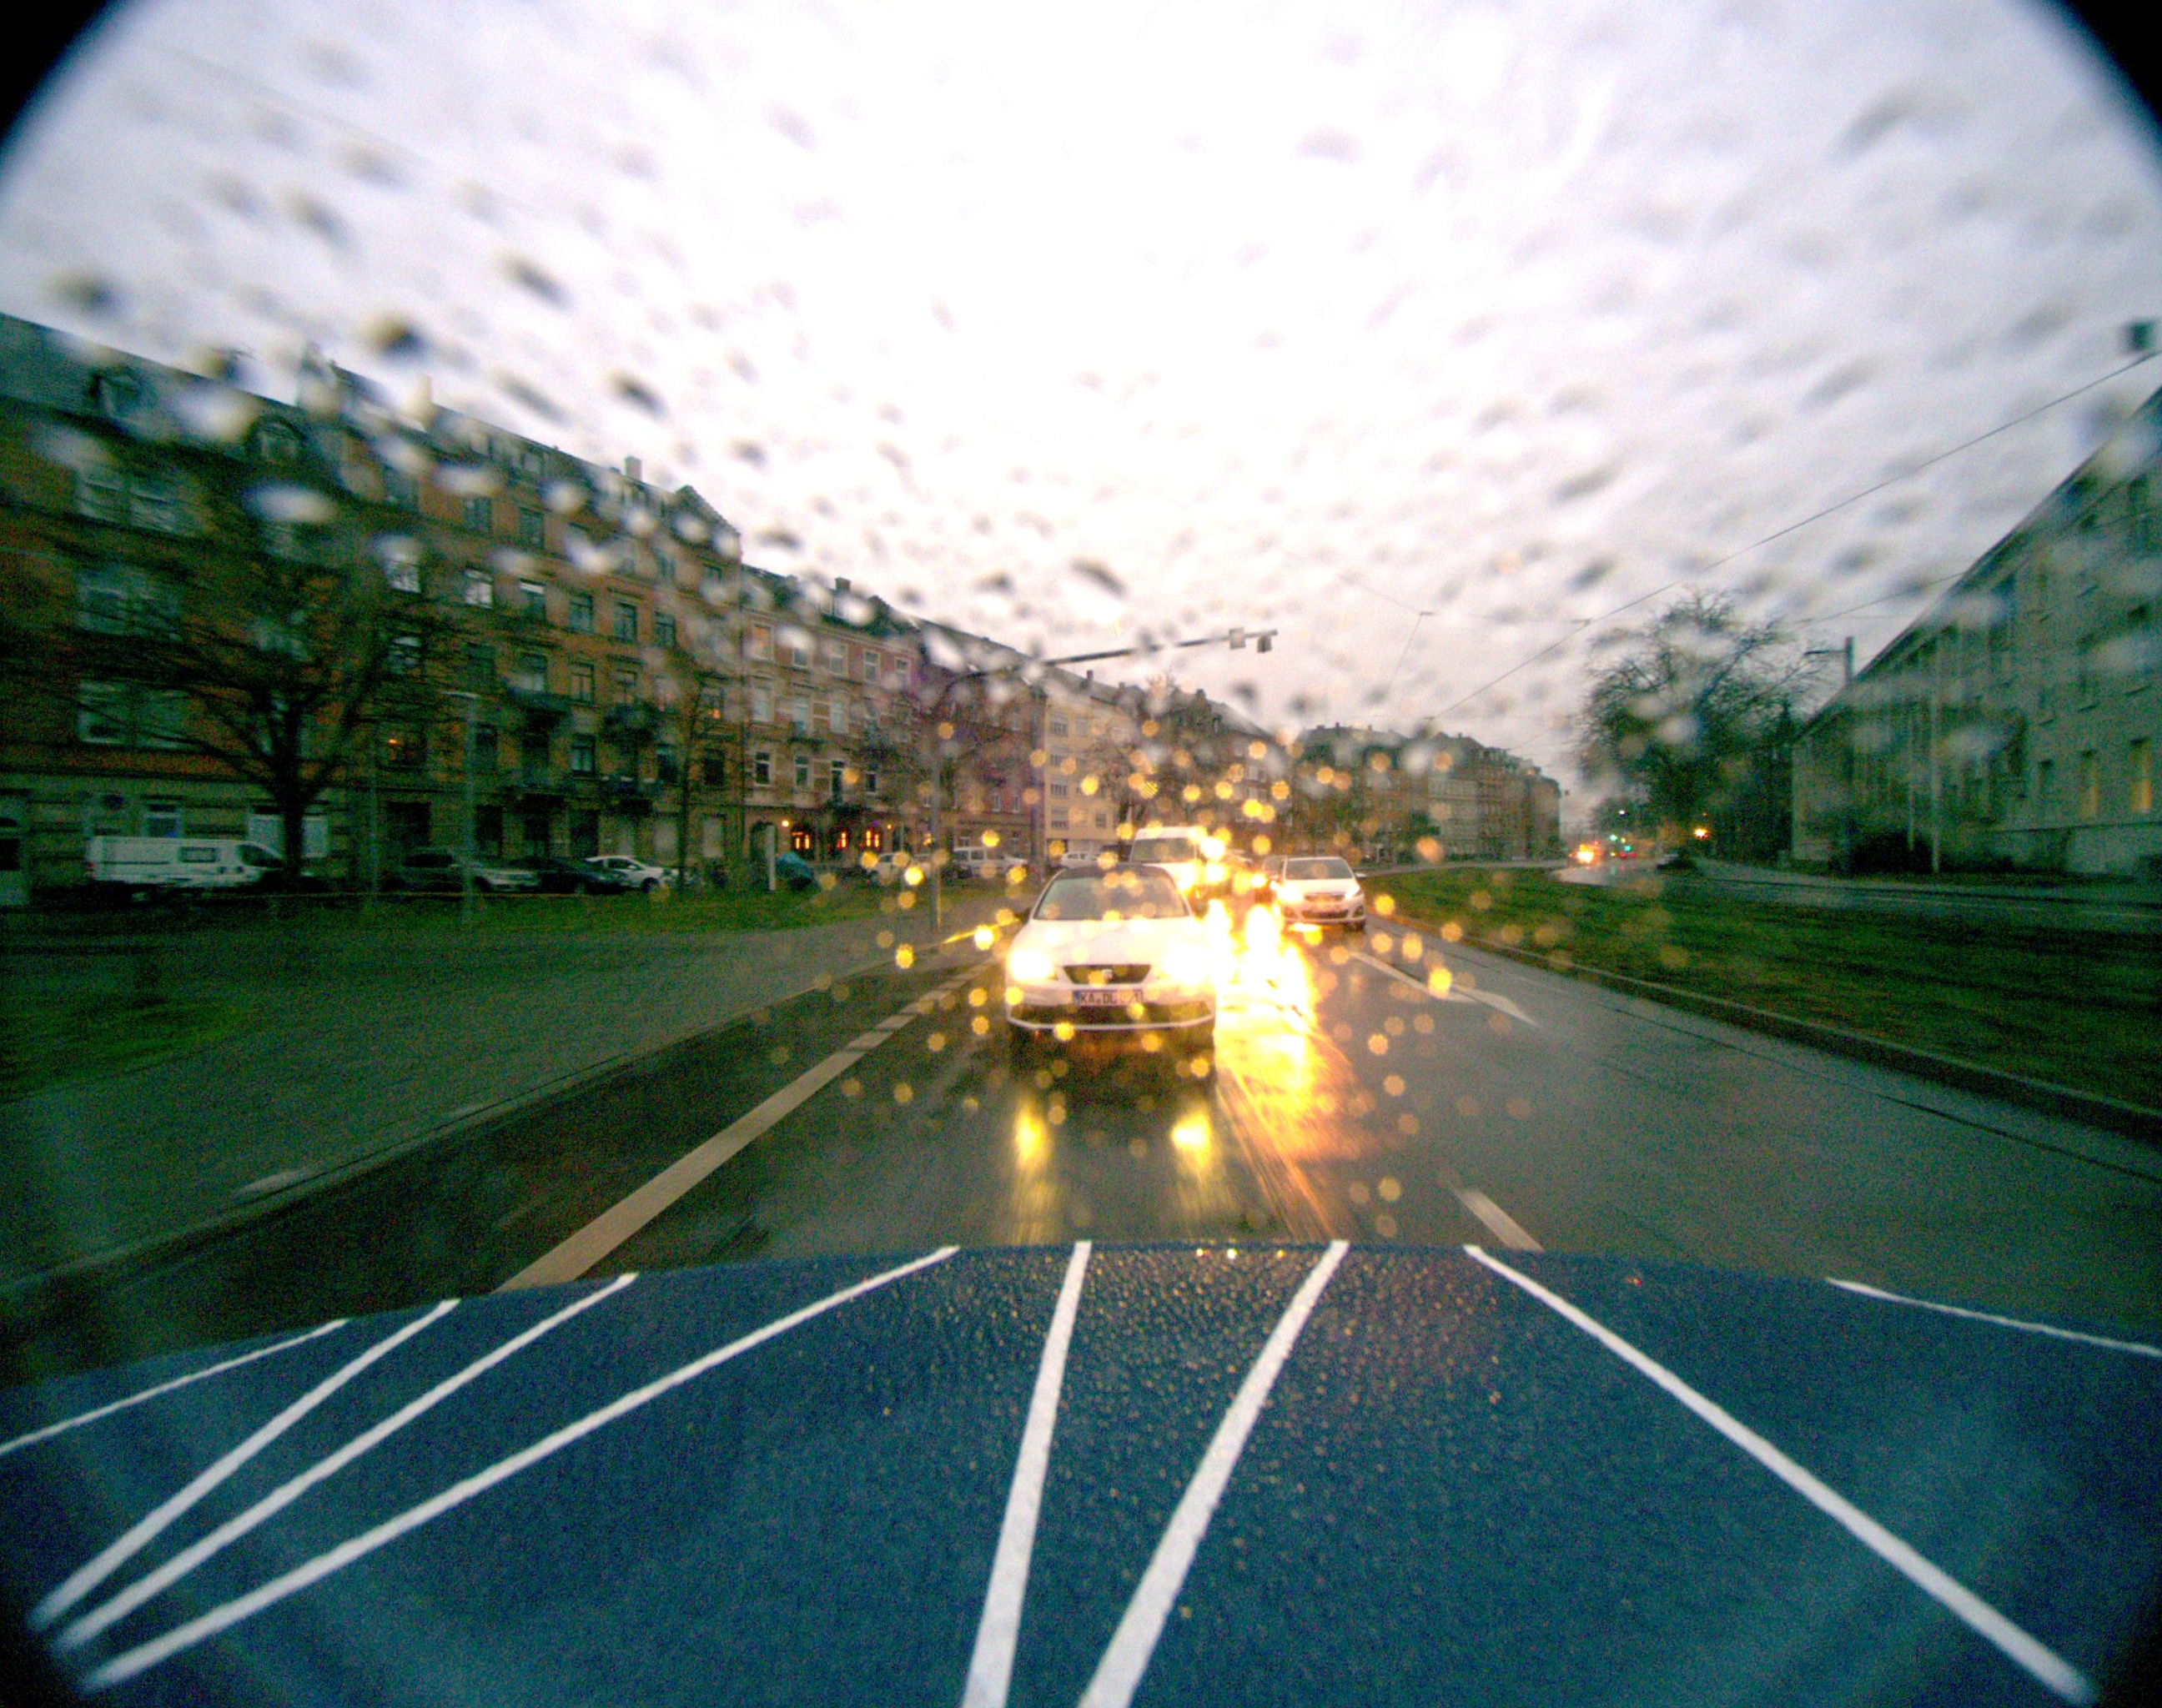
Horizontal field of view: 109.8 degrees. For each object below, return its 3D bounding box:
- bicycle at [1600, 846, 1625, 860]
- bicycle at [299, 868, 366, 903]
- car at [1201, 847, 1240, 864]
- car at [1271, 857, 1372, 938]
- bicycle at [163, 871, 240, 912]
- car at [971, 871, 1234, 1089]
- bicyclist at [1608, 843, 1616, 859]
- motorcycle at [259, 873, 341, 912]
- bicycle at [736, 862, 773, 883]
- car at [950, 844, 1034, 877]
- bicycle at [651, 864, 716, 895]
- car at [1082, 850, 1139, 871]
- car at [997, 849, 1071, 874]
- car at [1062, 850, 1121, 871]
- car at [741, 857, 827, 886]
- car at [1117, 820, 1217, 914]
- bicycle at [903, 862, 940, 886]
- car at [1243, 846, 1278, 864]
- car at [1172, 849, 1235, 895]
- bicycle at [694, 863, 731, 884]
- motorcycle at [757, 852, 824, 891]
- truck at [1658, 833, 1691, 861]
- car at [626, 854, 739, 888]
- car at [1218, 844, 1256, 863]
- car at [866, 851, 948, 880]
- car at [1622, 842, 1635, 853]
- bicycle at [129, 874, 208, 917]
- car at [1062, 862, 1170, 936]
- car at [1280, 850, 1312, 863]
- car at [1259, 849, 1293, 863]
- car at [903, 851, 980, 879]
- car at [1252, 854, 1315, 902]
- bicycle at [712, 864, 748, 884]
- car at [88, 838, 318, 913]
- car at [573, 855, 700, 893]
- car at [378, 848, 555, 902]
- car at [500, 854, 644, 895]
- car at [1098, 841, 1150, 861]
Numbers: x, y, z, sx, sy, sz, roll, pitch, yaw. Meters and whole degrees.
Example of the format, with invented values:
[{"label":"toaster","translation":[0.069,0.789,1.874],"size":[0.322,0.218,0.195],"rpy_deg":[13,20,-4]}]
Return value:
[{"label":"bicycle","translation":[65.975,-0.105,94.373],"size":[2.446,1.697,0.847],"rpy_deg":[-1,1,33]},{"label":"bicycle","translation":[-21.402,0.884,21.725],"size":[1.792,0.926,0.446],"rpy_deg":[1,1,13]},{"label":"car","translation":[11.958,0.119,65.088],"size":[3.181,1.420,1.430],"rpy_deg":[0,0,15]},{"label":"car","translation":[4.860,0.824,15.727],"size":[1.688,1.422,3.349],"rpy_deg":[-1,0,13]},{"label":"bicycle","translation":[-21.729,0.926,18.769],"size":[1.792,0.926,0.446],"rpy_deg":[1,1,13]},{"label":"car","translation":[0.284,0.939,7.427],"size":[1.787,1.370,4.224],"rpy_deg":[-2,0,4]},{"label":"bicyclist","translation":[65.925,-0.394,94.398],"size":[0.777,2.002,0.831],"rpy_deg":[-1,1,34]},{"label":"motorcycle","translation":[-20.455,0.995,19.900],"size":[1.793,0.926,0.513],"rpy_deg":[1,1,7]},{"label":"bicycle","translation":[-14.171,0.790,32.951],"size":[1.790,0.813,0.395],"rpy_deg":[2,1,28]},{"label":"car","translation":[-4.933,0.346,42.456],"size":[4.340,1.757,1.782],"rpy_deg":[-1,0,6]},{"label":"bicycle","translation":[-13.502,0.847,25.839],"size":[1.911,1.013,0.535],"rpy_deg":[1,1,-33]},{"label":"car","translation":[2.027,0.416,51.620],"size":[3.608,1.362,1.619],"rpy_deg":[0,0,11]},{"label":"car","translation":[-2.737,0.430,44.620],"size":[3.957,1.436,1.703],"rpy_deg":[0,0,12]},{"label":"car","translation":[0.699,0.412,49.402],"size":[3.608,1.362,1.619],"rpy_deg":[0,0,11]},{"label":"car","translation":[-13.470,0.782,34.521],"size":[3.296,1.298,1.522],"rpy_deg":[-1,0,7]},{"label":"car","translation":[2.750,0.334,22.922],"size":[2.239,2.448,5.675],"rpy_deg":[-1,0,14]},{"label":"bicycle","translation":[-6.732,0.841,32.041],"size":[1.790,0.926,0.447],"rpy_deg":[2,2,35]},{"label":"car","translation":[16.928,0.085,71.751],"size":[3.181,1.615,1.447],"rpy_deg":[0,1,15]},{"label":"car","translation":[4.971,0.666,30.409],"size":[1.874,1.679,4.176],"rpy_deg":[-1,0,17]},{"label":"bicycle","translation":[-15.252,0.810,31.414],"size":[1.790,0.790,0.447],"rpy_deg":[2,1,31]},{"label":"motorcycle","translation":[-11.013,0.635,28.785],"size":[2.352,1.338,0.886],"rpy_deg":[3,2,21]},{"label":"truck","translation":[43.869,-0.513,56.156],"size":[1.833,2.032,4.008],"rpy_deg":[0,0,39]},{"label":"car","translation":[-15.678,0.663,29.968],"size":[3.684,1.298,1.522],"rpy_deg":[-1,0,6]},{"label":"car","translation":[13.797,-0.017,67.248],"size":[3.181,1.615,1.430],"rpy_deg":[0,1,15]},{"label":"car","translation":[-8.622,0.556,37.759],"size":[3.683,1.391,1.522],"rpy_deg":[-1,0,7]},{"label":"car","translation":[84.910,-0.952,117.837],"size":[1.686,1.630,3.654],"rpy_deg":[0,0,36]},{"label":"bicycle","translation":[-21.848,0.987,18.195],"size":[1.792,0.926,0.446],"rpy_deg":[1,1,13]},{"label":"car","translation":[0.915,0.932,17.084],"size":[1.721,1.380,3.825],"rpy_deg":[-1,0,13]},{"label":"car","translation":[21.828,0.252,77.135],"size":[3.180,1.276,1.383],"rpy_deg":[0,0,17]},{"label":"car","translation":[19.097,0.196,74.269],"size":[3.180,1.405,1.383],"rpy_deg":[0,0,17]},{"label":"car","translation":[-7.361,0.580,40.201],"size":[3.683,1.428,1.522],"rpy_deg":[-1,0,7]},{"label":"car","translation":[6.871,0.754,25.636],"size":[1.874,1.466,4.176],"rpy_deg":[-1,0,17]},{"label":"bicycle","translation":[-14.733,0.838,31.879],"size":[1.790,0.773,0.447],"rpy_deg":[2,1,31]},{"label":"car","translation":[-28.289,0.613,24.665],"size":[1.994,2.176,4.671],"rpy_deg":[0,0,35]},{"label":"car","translation":[-16.039,0.719,27.522],"size":[3.684,1.298,1.669],"rpy_deg":[-1,0,6]},{"label":"car","translation":[-18.705,0.616,23.229],"size":[4.151,1.560,1.743],"rpy_deg":[-1,0,6]},{"label":"car","translation":[-16.894,0.673,25.317],"size":[3.684,1.298,1.743],"rpy_deg":[-1,0,6]},{"label":"car","translation":[3.089,-0.187,54.075],"size":[3.610,1.362,1.618],"rpy_deg":[-1,0,5]}]
